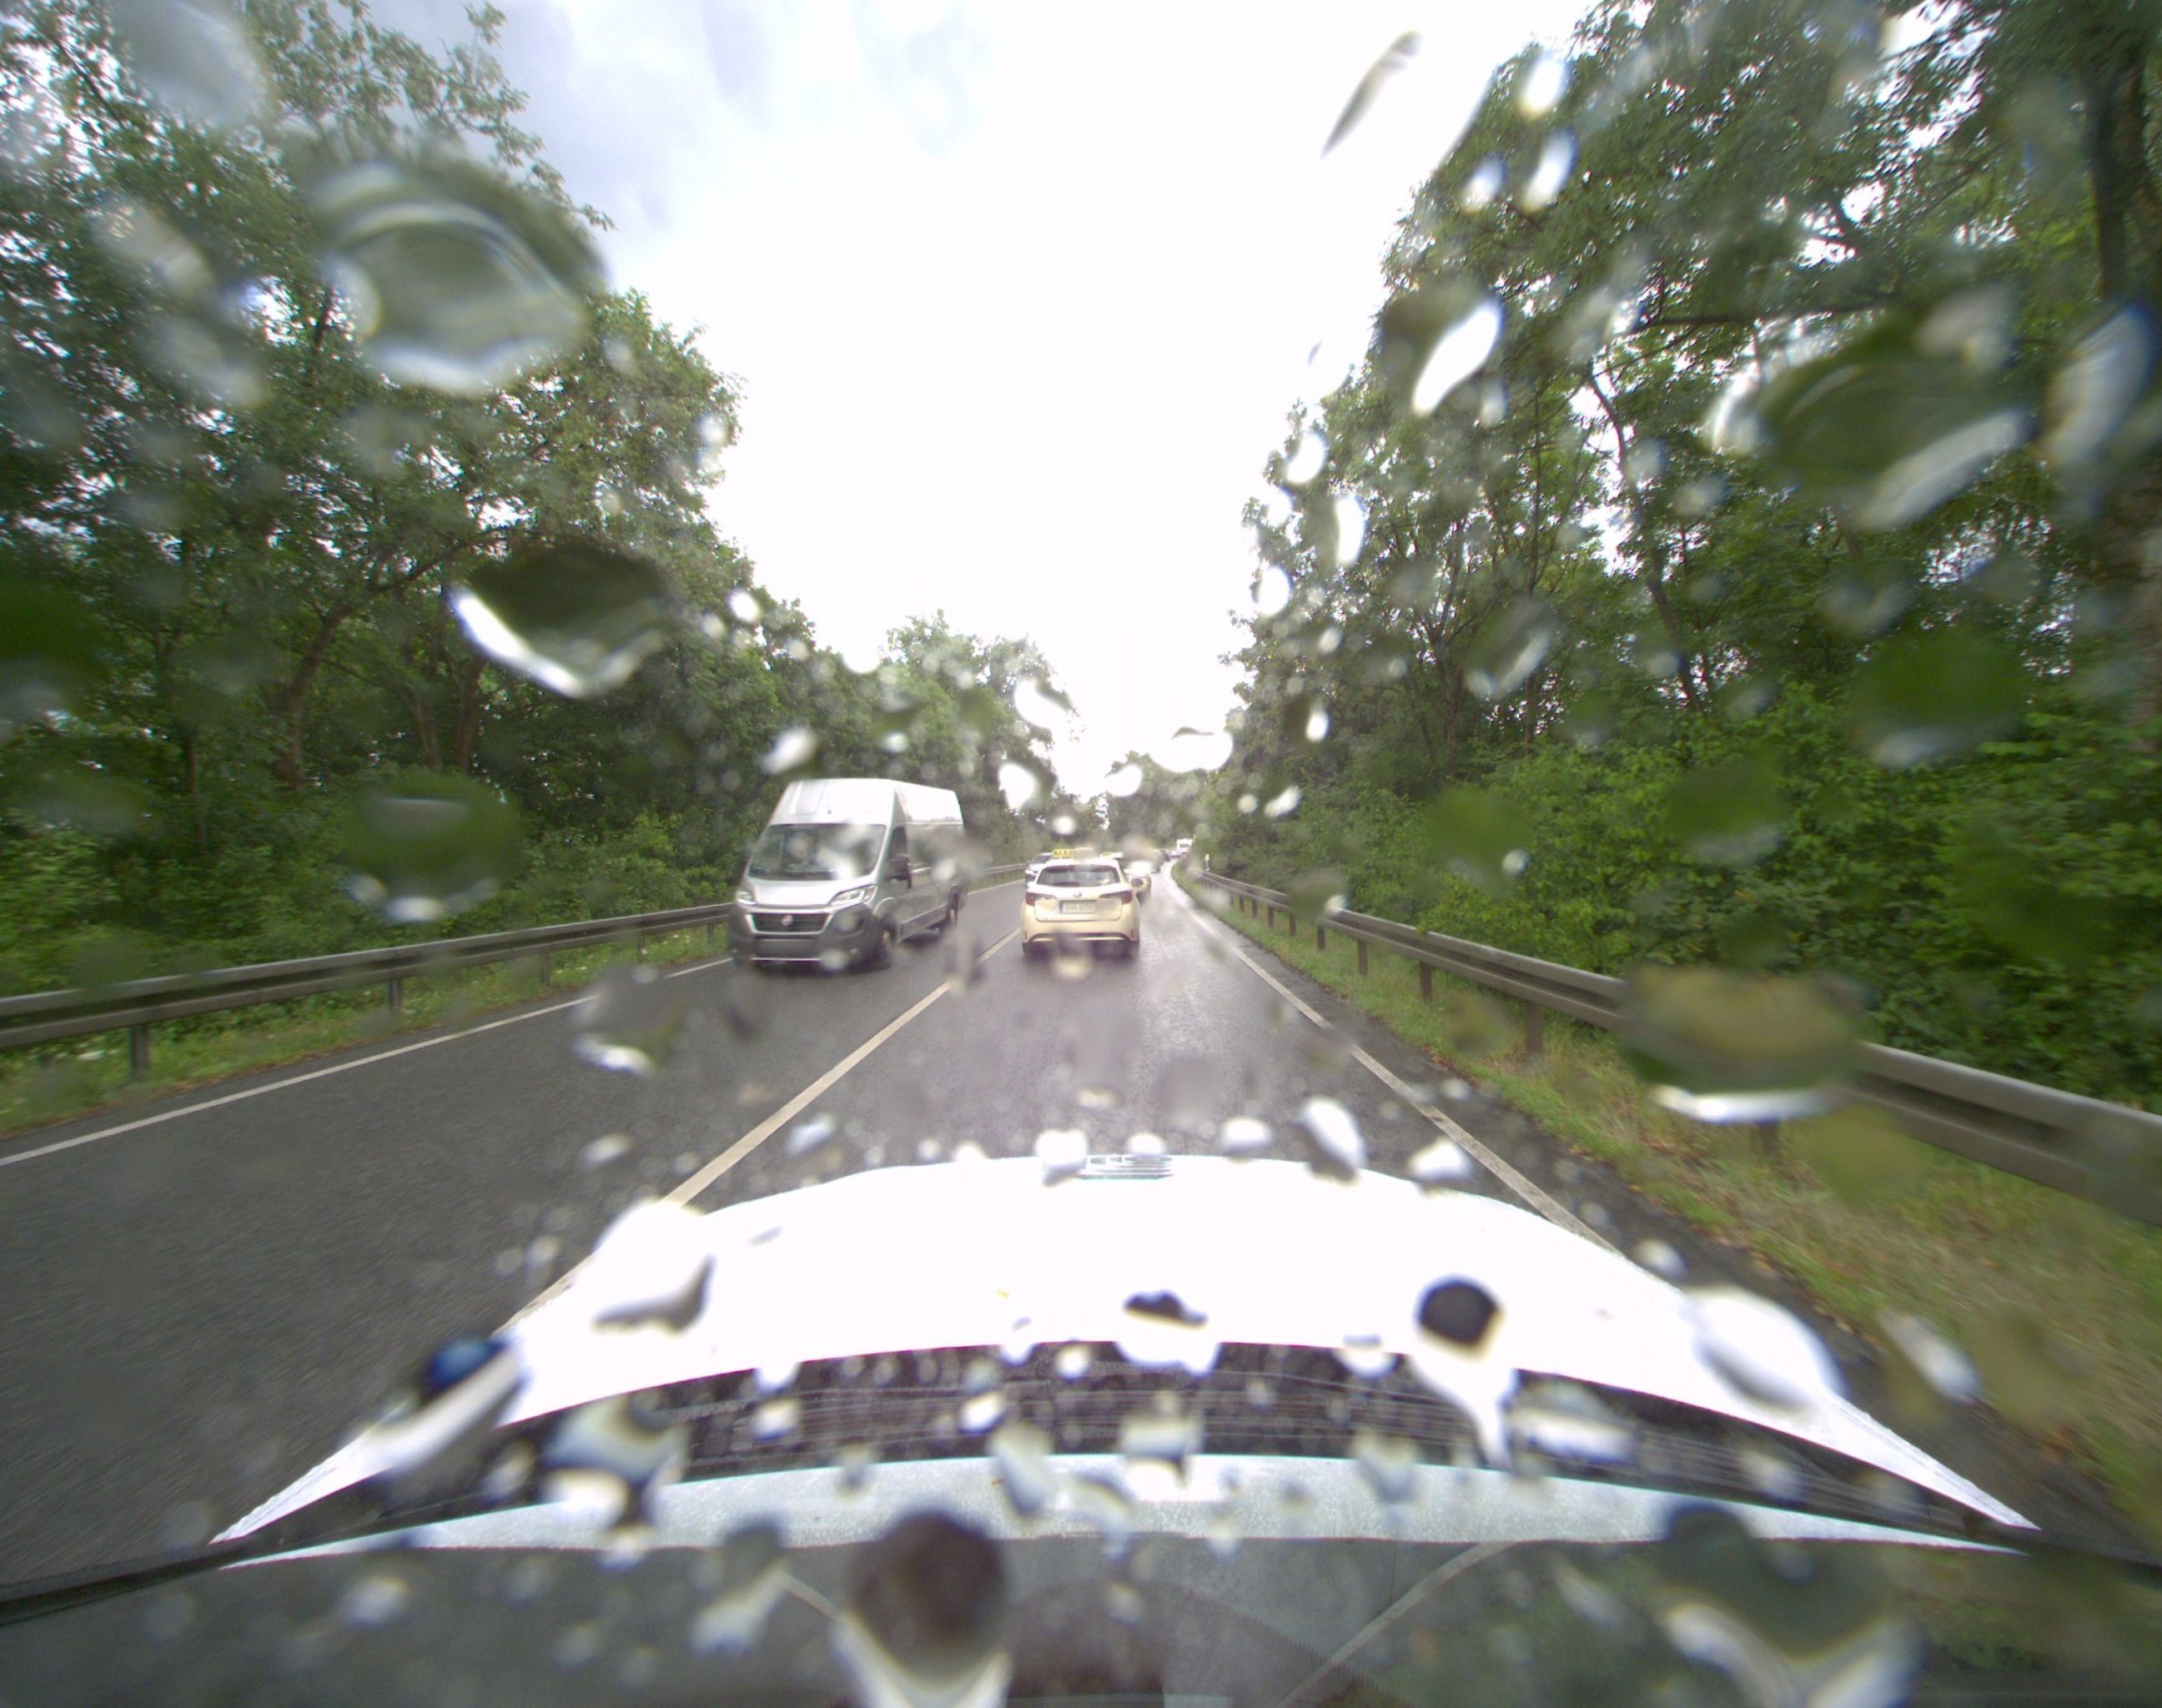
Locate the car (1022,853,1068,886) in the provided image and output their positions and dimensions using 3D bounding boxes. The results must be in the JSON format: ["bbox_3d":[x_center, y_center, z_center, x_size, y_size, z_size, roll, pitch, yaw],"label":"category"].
[{"bbox_3d":[-1.620,0.709,37.959,1.721,1.431,3.852,-1,-1,3],"label":"car"}]

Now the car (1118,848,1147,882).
[{"bbox_3d":[2.441,0.507,38.441,1.295,1.547,3.262,-1,-1,3],"label":"car"}]

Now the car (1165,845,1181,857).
[{"bbox_3d":[12.621,-0.433,111.711,1.758,1.547,3.825,-1,-1,11],"label":"car"}]

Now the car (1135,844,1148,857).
[{"bbox_3d":[9.548,-0.488,128.877,1.984,2.014,4.006,-1,-1,5],"label":"car"}]

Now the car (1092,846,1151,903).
[{"bbox_3d":[1.261,0.600,24.938,1.660,1.580,3.895,-1,-1,3],"label":"car"}]

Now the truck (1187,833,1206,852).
[{"bbox_3d":[23.484,-2.328,164.812,3.085,3.680,7.025,-1,-1,13],"label":"truck"}]

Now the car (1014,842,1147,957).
[{"bbox_3d":[0.120,0.650,13.375,1.826,1.580,4.160,-1,-1,4],"label":"car"}]

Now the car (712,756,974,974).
[{"bbox_3d":[-3.368,0.163,13.193,2.039,2.676,6.177,-1,-1,4],"label":"car"}]

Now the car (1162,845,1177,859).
[{"bbox_3d":[10.084,-0.196,92.995,1.608,1.613,3.627,-1,-1,6],"label":"car"}]

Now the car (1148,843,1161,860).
[{"bbox_3d":[6.830,-0.234,75.698,1.161,1.547,2.609,-1,-1,7],"label":"car"}]

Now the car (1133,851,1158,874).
[{"bbox_3d":[4.460,0.588,55.981,1.603,1.547,3.819,-1,-1,5],"label":"car"}]

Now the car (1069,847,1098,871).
[{"bbox_3d":[0.224,0.369,60.291,1.807,1.686,4.626,-1,-1,3],"label":"car"}]

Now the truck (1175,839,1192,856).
[{"bbox_3d":[16.939,-1.049,135.353,2.537,2.713,7.545,-1,-1,5],"label":"truck"}]
